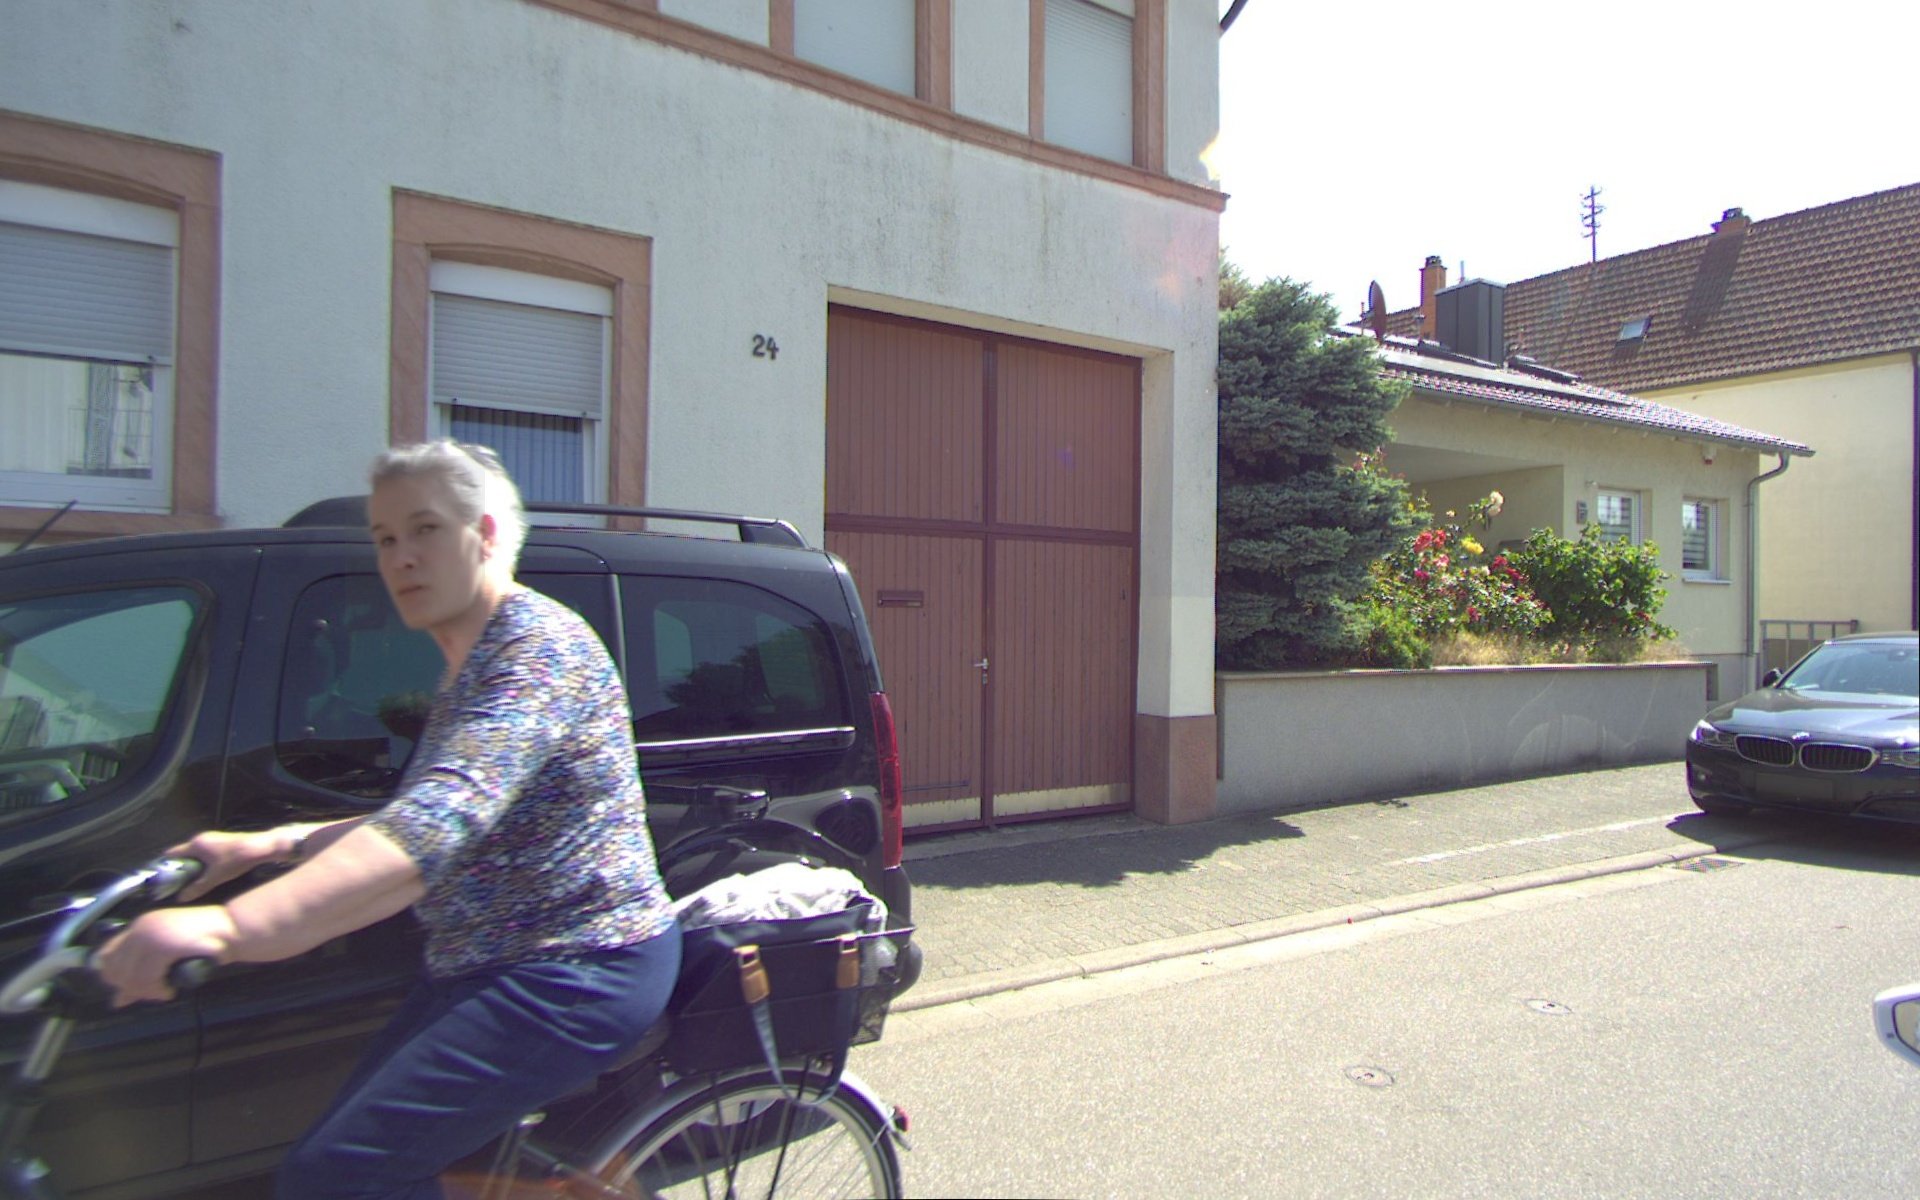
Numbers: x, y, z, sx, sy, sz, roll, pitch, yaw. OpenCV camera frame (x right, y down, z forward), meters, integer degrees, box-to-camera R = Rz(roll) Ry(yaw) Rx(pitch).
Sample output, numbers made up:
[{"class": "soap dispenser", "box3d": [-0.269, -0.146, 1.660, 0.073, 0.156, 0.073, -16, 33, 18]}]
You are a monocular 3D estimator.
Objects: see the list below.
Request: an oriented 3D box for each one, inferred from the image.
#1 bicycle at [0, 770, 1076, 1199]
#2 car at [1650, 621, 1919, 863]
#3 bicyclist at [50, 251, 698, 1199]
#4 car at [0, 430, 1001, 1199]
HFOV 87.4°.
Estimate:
[{"class": "bicycle", "box3d": [-0.767, 0.927, 1.381, 1.928, 1.163, 0.586, 1, -2, -34]}, {"class": "car", "box3d": [7.945, 0.974, 8.303, 4.708, 1.547, 1.836, 1, -1, -30]}, {"class": "bicyclist", "box3d": [-0.804, 0.566, 1.428, 0.618, 1.794, 0.699, 1, 1, -33]}, {"class": "car", "box3d": [-2.184, 0.603, 2.895, 4.301, 1.862, 1.826, 1, -1, -30]}]
